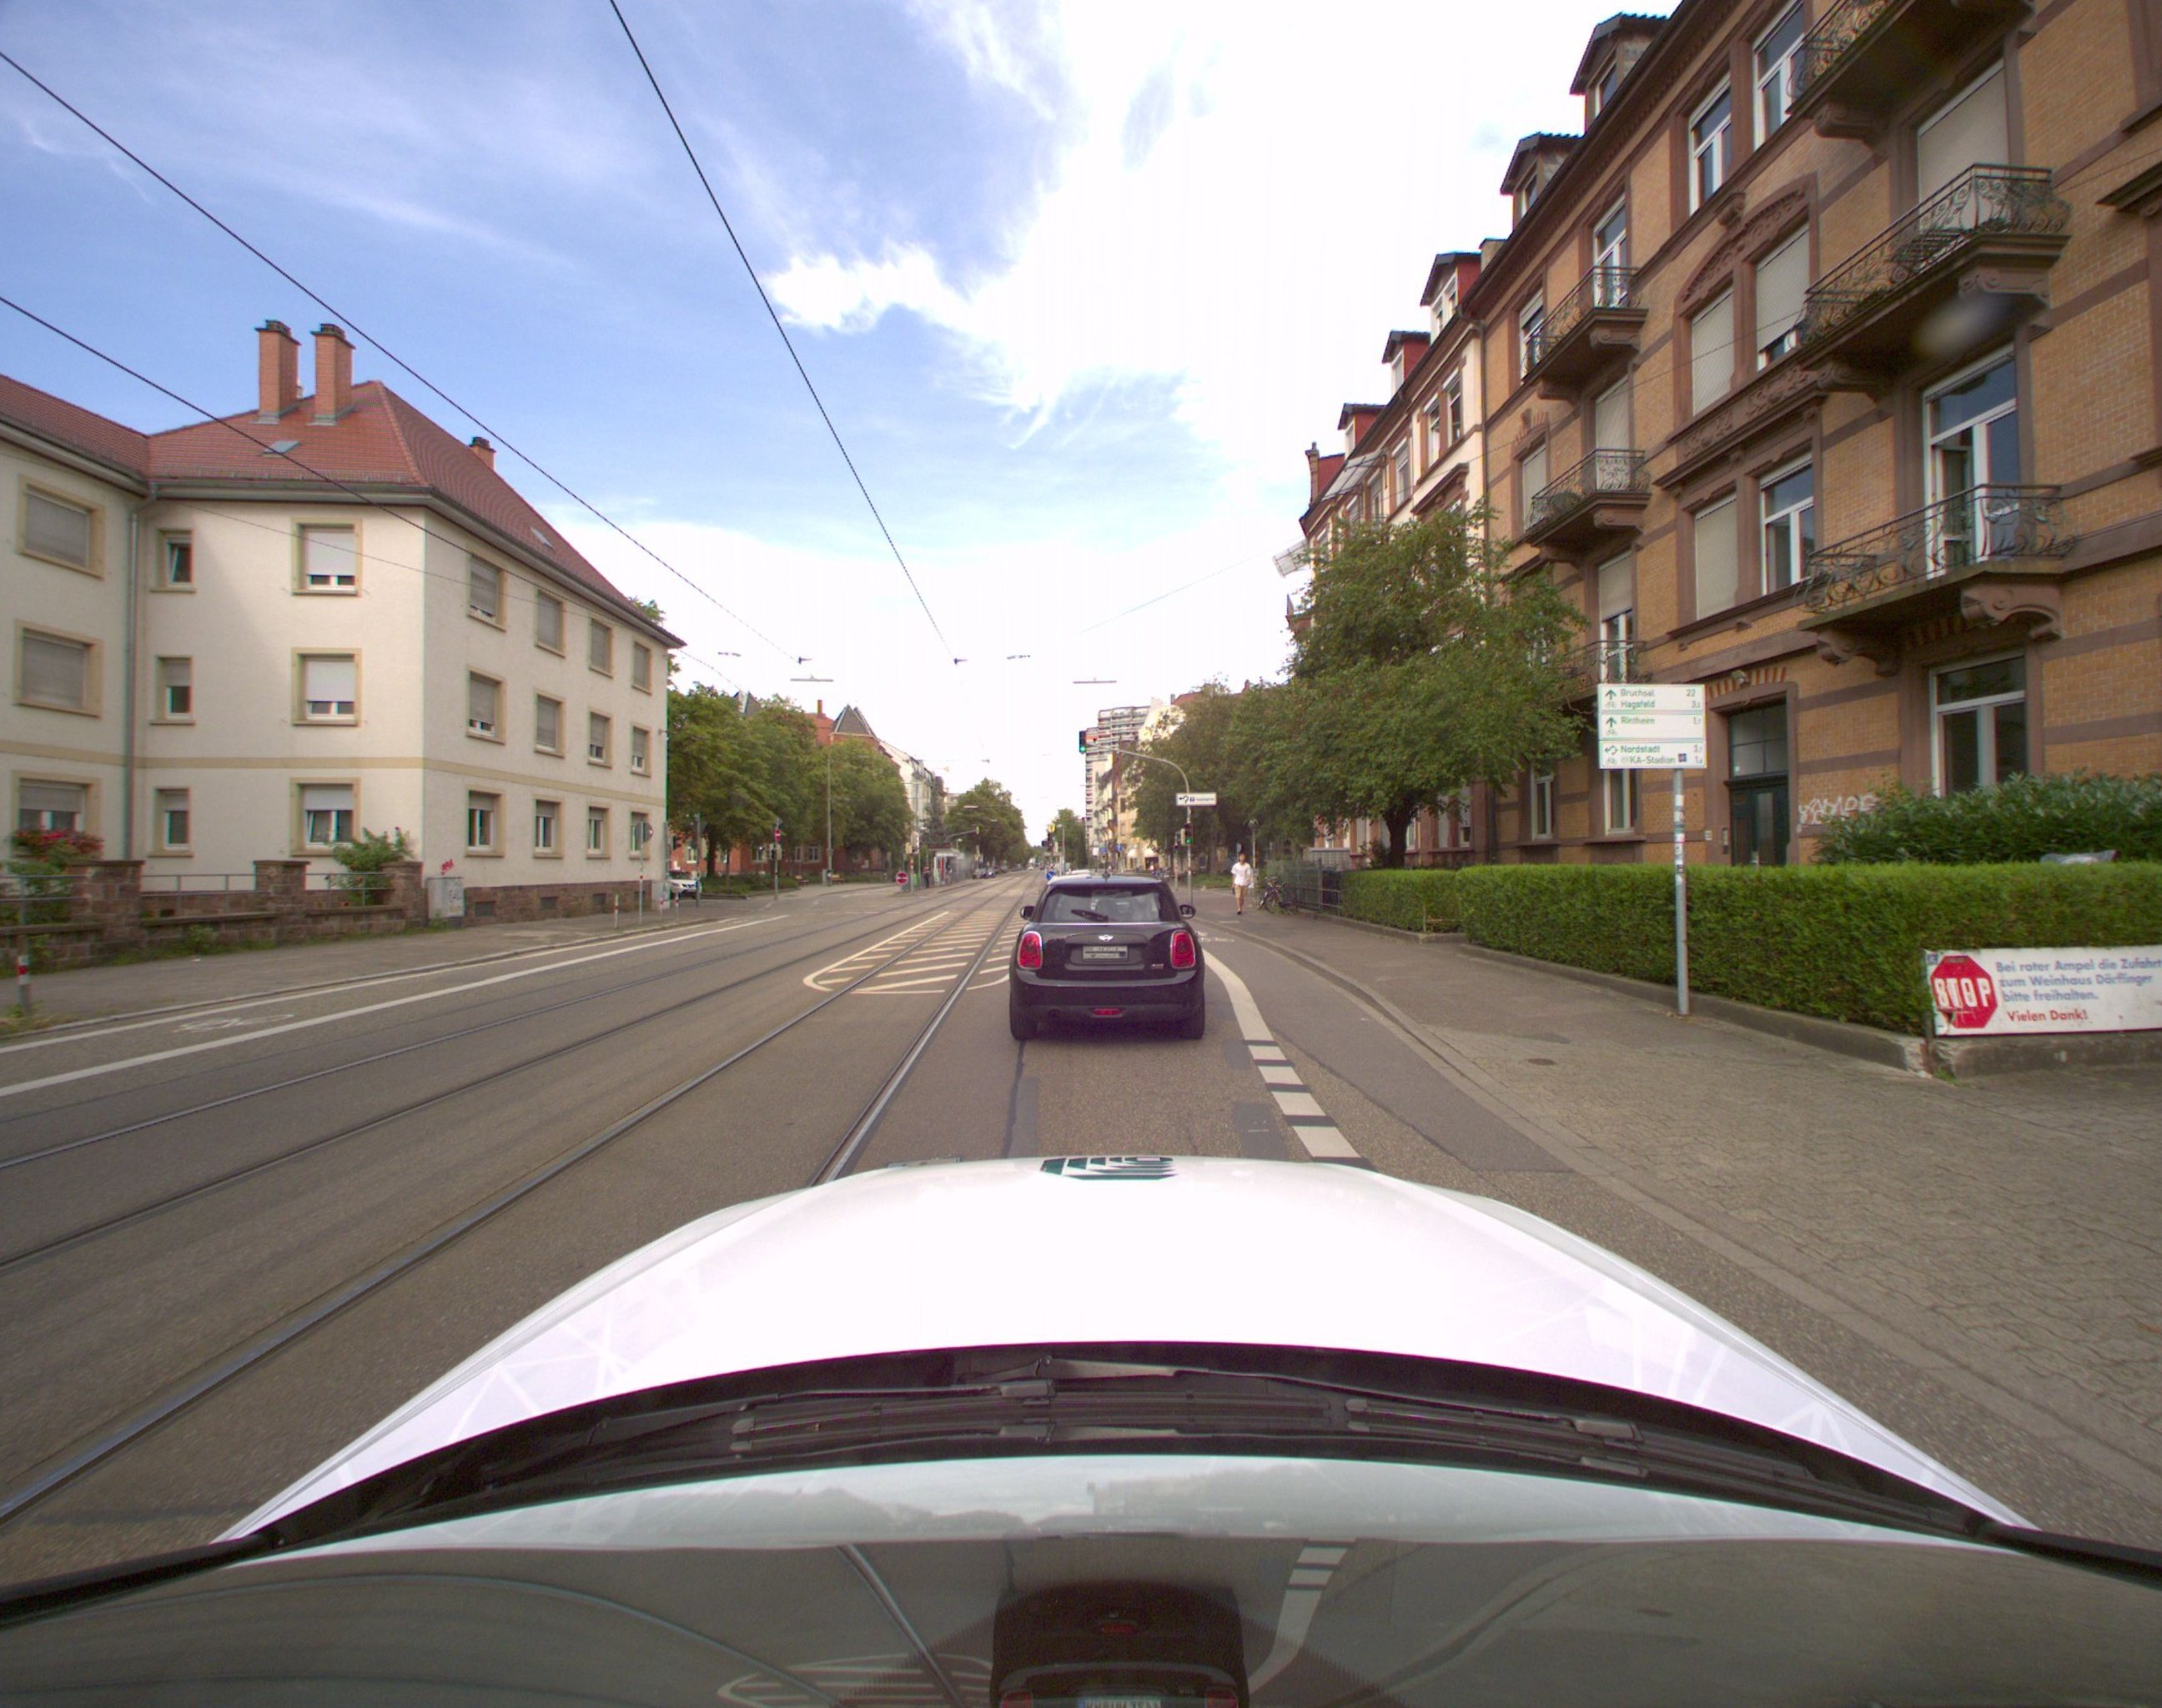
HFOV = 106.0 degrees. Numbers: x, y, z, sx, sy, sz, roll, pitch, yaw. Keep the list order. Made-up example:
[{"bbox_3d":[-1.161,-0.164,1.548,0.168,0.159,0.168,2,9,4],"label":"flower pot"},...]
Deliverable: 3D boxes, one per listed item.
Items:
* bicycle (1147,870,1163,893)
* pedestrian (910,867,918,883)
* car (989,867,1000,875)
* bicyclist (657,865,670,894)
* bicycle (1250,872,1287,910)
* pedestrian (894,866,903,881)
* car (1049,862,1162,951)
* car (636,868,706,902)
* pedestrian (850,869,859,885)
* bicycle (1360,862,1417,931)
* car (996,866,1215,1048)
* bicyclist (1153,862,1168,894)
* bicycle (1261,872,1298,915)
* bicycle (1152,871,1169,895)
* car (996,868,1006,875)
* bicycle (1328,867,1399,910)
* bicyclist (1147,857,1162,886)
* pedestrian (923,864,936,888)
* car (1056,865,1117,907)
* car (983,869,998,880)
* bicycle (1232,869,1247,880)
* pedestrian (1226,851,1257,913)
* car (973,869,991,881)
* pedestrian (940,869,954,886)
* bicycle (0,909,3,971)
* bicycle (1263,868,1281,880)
[{"bbox_3d":[3.932,1.442,43.530,0.682,1.170,1.696,-1,-1,0],"label":"bicycle"},{"bbox_3d":[-18.865,2.365,92.021,0.692,1.719,0.758,-1,-1,-1],"label":"pedestrian"},{"bbox_3d":[-18.360,3.649,173.040,1.988,1.552,3.996,-1,-1,-2],"label":"car"},{"bbox_3d":[-25.552,1.564,49.840,0.614,1.775,0.902,0,-1,-30],"label":"bicyclist"},{"bbox_3d":[5.781,1.110,25.173,0.669,1.106,1.670,-1,-1,-2],"label":"bicycle"},{"bbox_3d":[-20.374,2.156,90.919,0.832,1.703,0.731,-1,-1,-8],"label":"pedestrian"},{"bbox_3d":[0.461,0.941,16.061,1.920,1.510,4.000,-1,-1,1],"label":"car"},{"bbox_3d":[-22.893,1.741,45.428,4.105,1.721,1.852,-4,-4,37],"label":"car"},{"bbox_3d":[-24.278,2.513,87.394,0.832,1.703,0.731,-1,-1,-8],"label":"pedestrian"},{"bbox_3d":[6.070,0.815,16.140,0.514,1.282,1.549,-1,-1,0],"label":"bicycle"},{"bbox_3d":[0.244,0.857,8.559,1.745,1.441,4.001,-1,-1,1],"label":"car"},{"bbox_3d":[3.948,1.199,40.654,0.593,1.550,1.013,-1,-1,-2],"label":"bicyclist"},{"bbox_3d":[5.459,1.057,22.435,0.507,1.088,1.548,-4,-1,-2],"label":"bicycle"},{"bbox_3d":[3.952,1.423,40.650,0.597,1.170,1.695,-1,-1,-2],"label":"bicycle"},{"bbox_3d":[-19.289,4.136,195.964,1.988,1.552,3.996,-1,-1,-2],"label":"car"},{"bbox_3d":[6.866,0.838,19.827,1.542,1.009,0.509,-1,-1,-5],"label":"bicycle"},{"bbox_3d":[3.930,0.930,43.483,0.682,1.564,0.998,-1,-1,0],"label":"bicyclist"},{"bbox_3d":[-10.453,1.528,56.272,0.851,1.621,0.841,-1,-1,-8],"label":"pedestrian"},{"bbox_3d":[0.296,1.160,30.785,1.742,1.441,4.488,-1,-1,7],"label":"car"},{"bbox_3d":[-12.523,2.829,112.854,1.746,1.441,3.998,1,-1,-1],"label":"car"},{"bbox_3d":[16.460,2.100,84.552,0.659,1.128,1.905,-2,-1,40],"label":"bicycle"},{"bbox_3d":[4.683,0.813,23.835,0.727,1.754,0.950,-1,-1,2],"label":"pedestrian"},{"bbox_3d":[-12.604,2.644,103.627,1.746,1.441,3.998,1,-1,-1],"label":"car"},{"bbox_3d":[-10.586,1.821,64.238,1.058,1.294,0.983,-1,-1,-8],"label":"pedestrian"},{"bbox_3d":[-16.205,1.268,11.235,0.476,0.915,1.670,-1,-1,-2],"label":"bicycle"},{"bbox_3d":[19.134,1.993,81.471,1.901,1.128,0.527,-1,-1,-33],"label":"bicycle"}]
